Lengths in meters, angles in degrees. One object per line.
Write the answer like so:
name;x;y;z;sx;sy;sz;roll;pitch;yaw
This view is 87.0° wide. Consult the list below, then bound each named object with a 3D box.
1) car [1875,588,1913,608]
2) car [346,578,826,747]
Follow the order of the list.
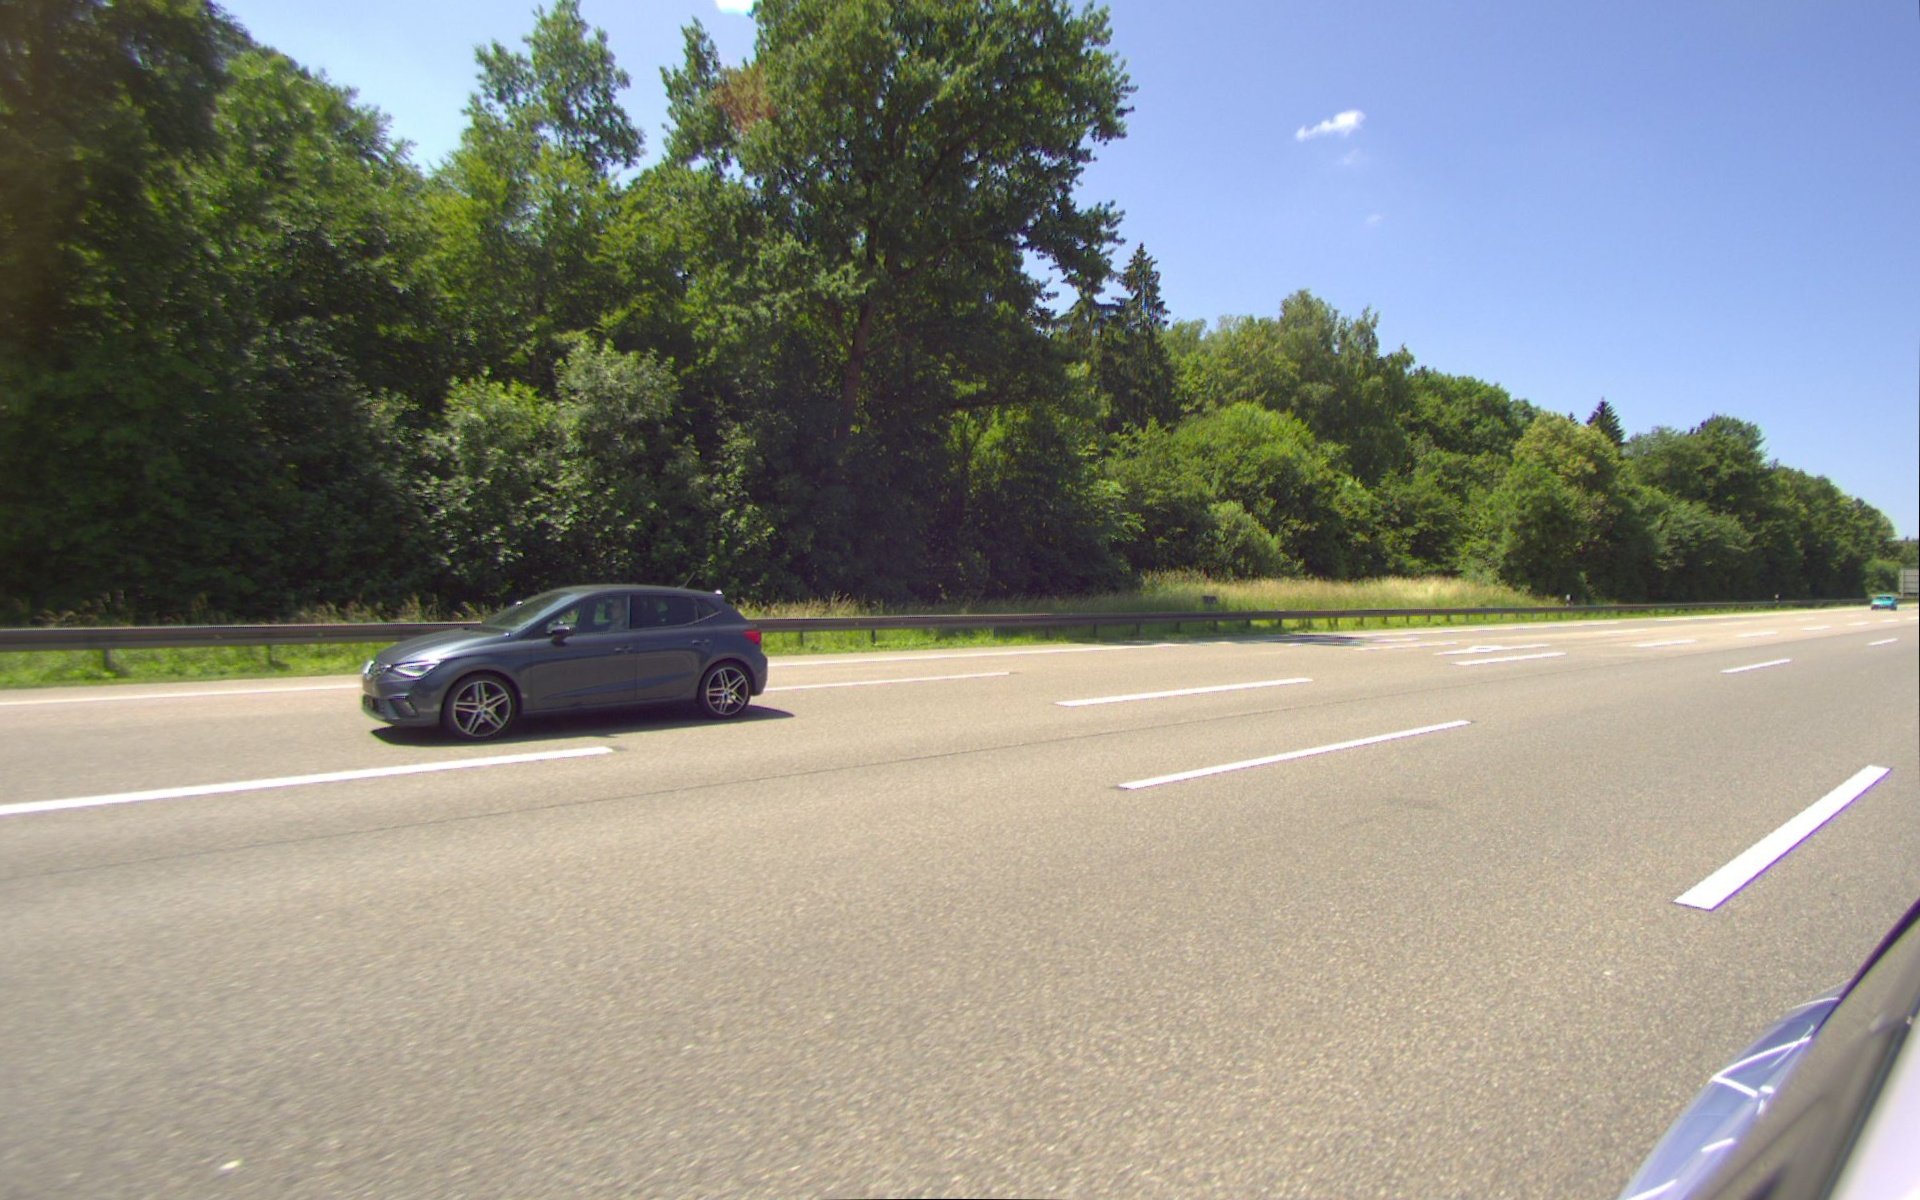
car;87.743;-0.200;95.019;4.052;1.701;1.999;0;3;-39
car;-3.790;0.529;10.821;4.554;1.457;1.646;0;0;-41
